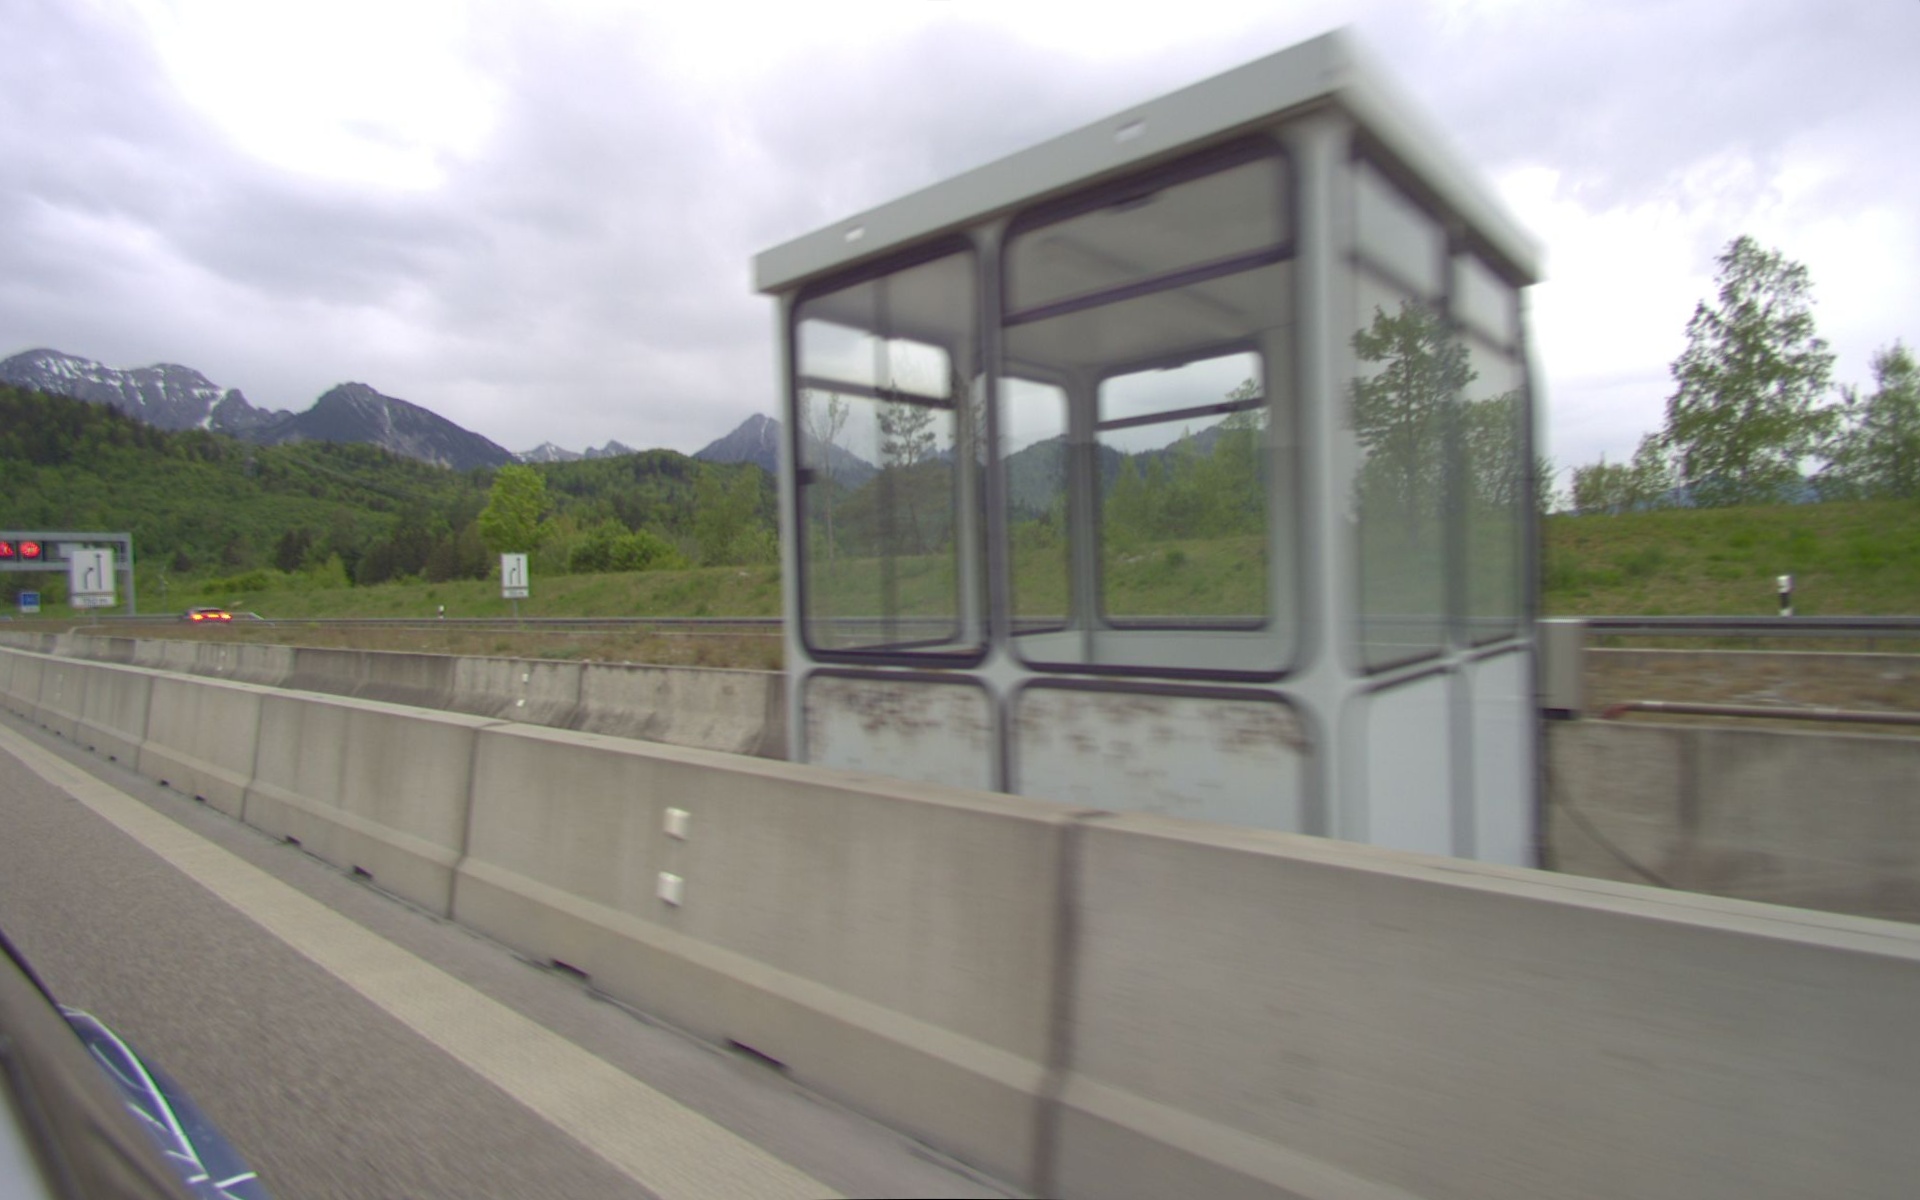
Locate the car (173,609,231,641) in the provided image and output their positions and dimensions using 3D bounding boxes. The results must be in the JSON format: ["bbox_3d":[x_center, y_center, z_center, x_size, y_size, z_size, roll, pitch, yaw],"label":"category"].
[{"bbox_3d":[-41.024,1.345,54.740,4.175,1.586,1.684,-1,1,42],"label":"car"}]
